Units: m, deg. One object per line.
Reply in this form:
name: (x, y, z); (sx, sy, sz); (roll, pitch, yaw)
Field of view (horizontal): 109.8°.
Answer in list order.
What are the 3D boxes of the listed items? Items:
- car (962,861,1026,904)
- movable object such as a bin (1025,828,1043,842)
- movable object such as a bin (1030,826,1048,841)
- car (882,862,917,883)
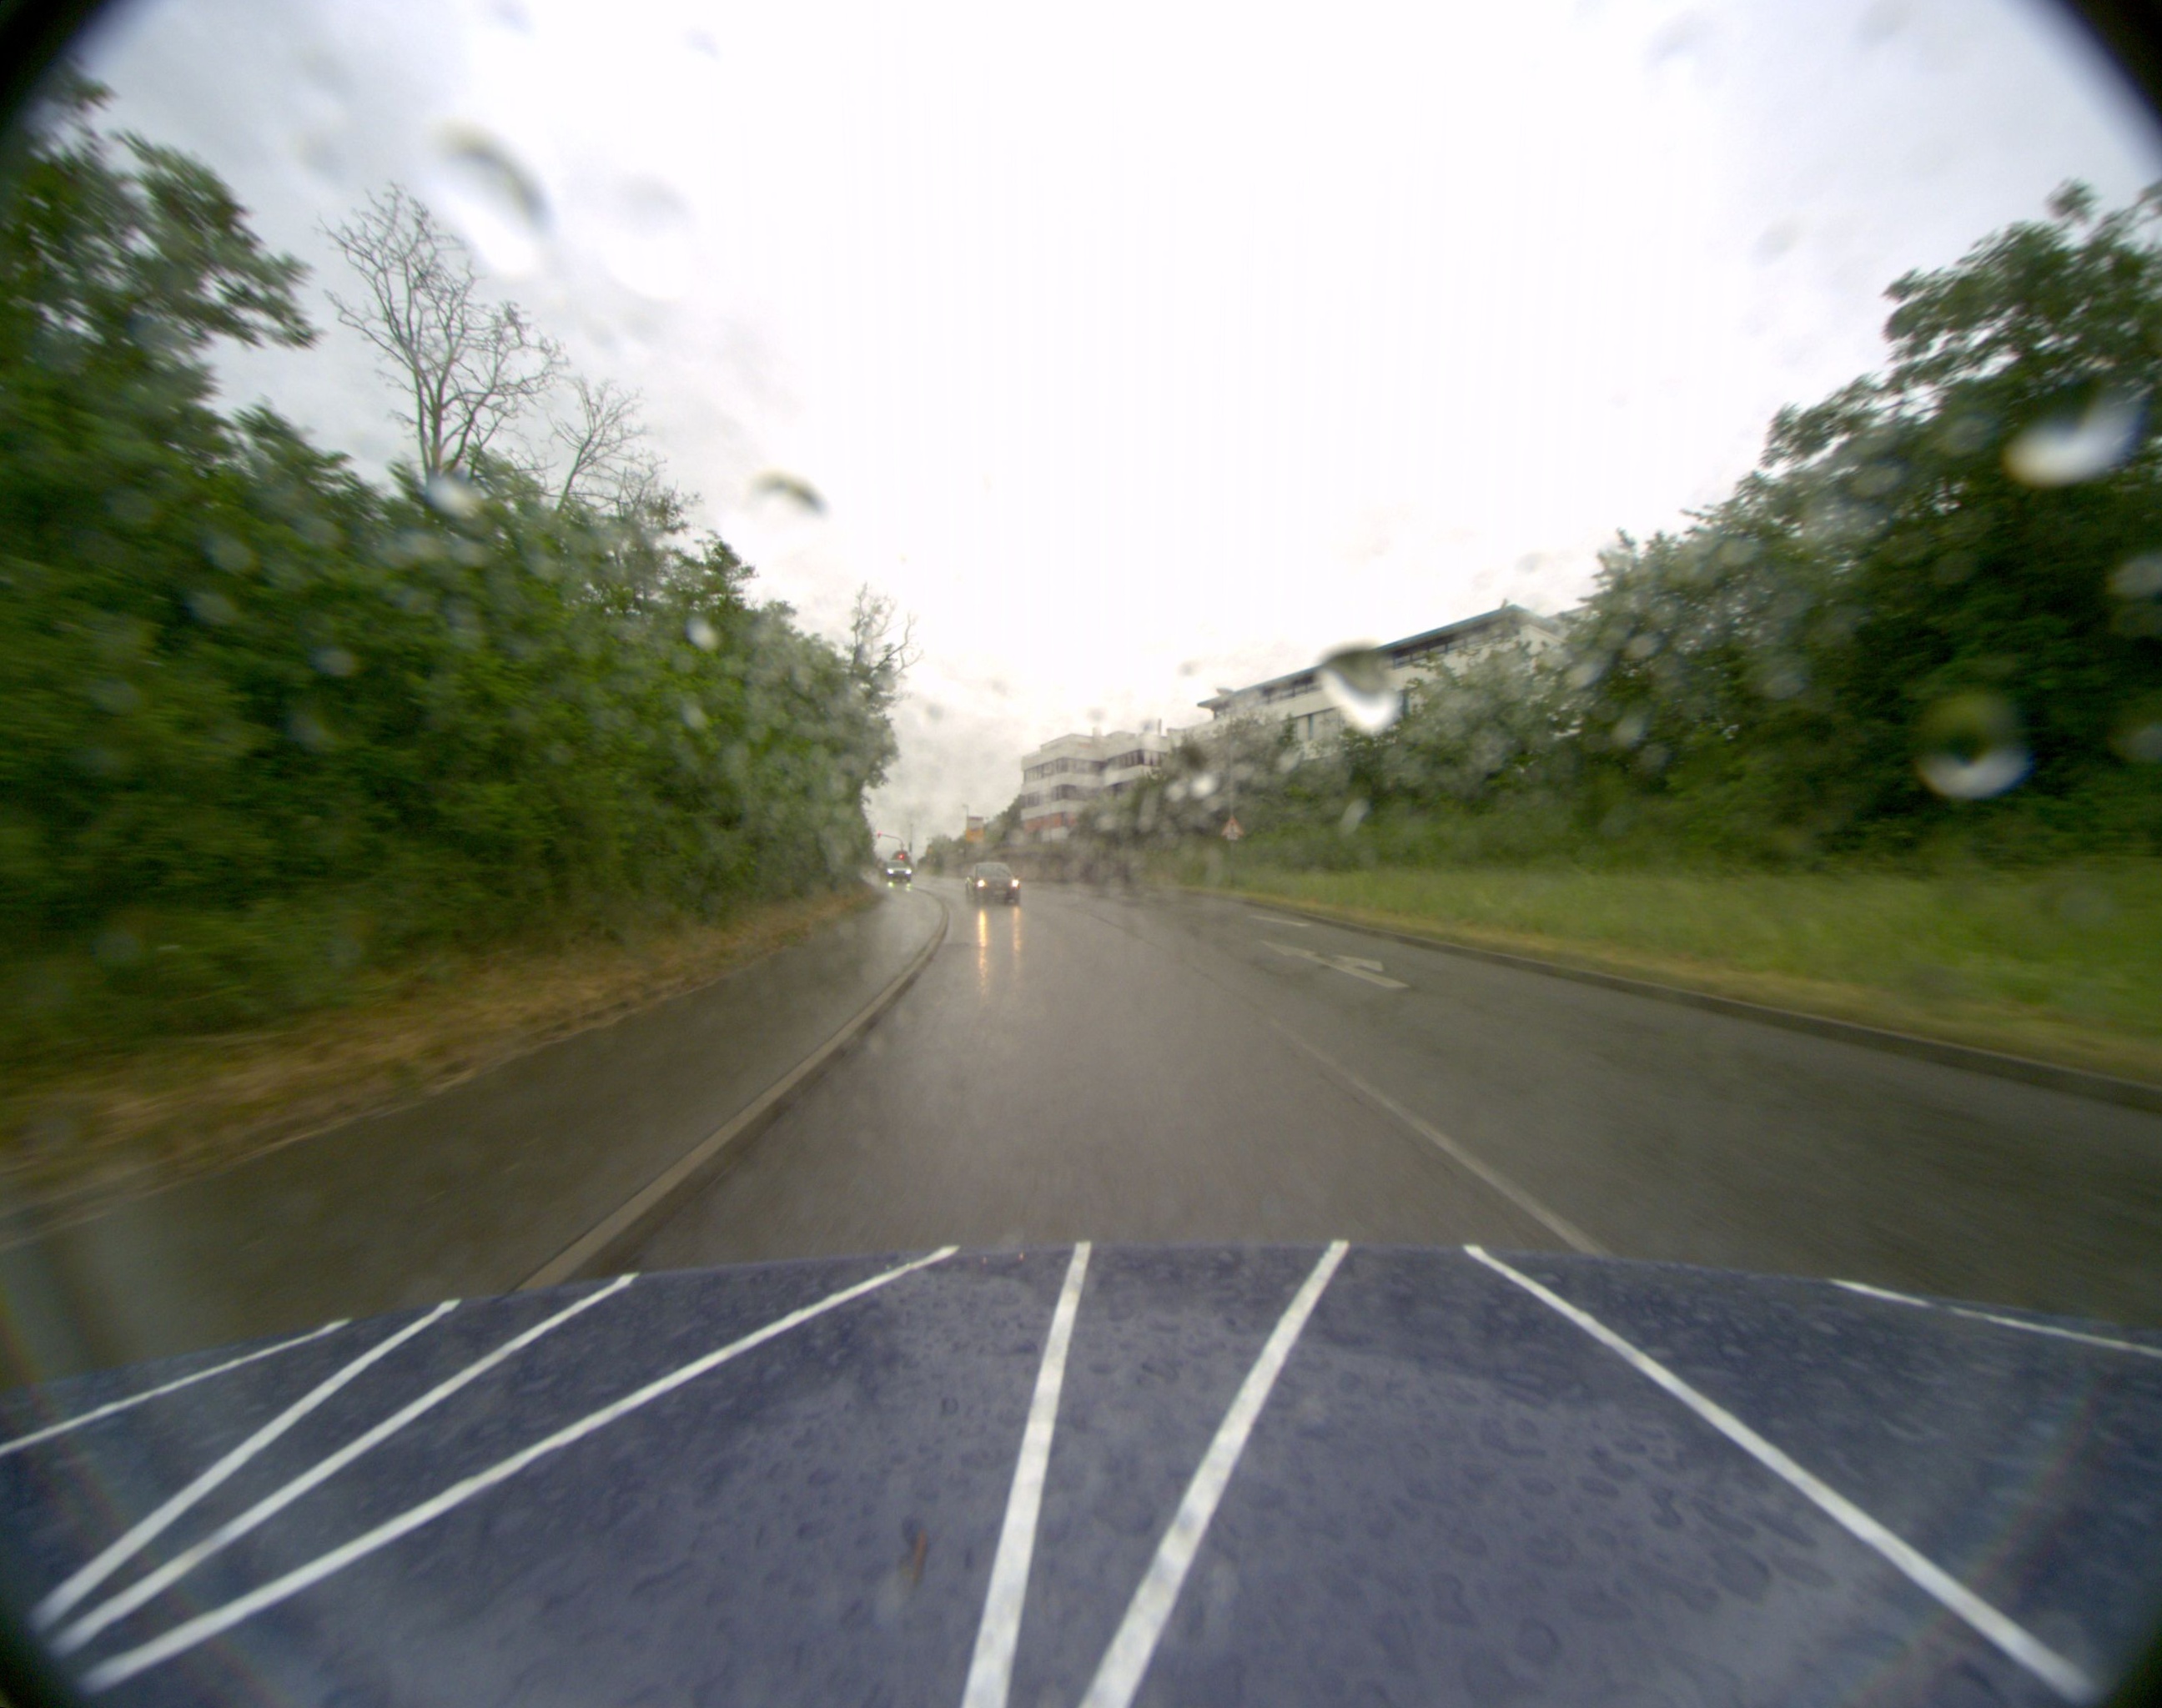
car: (-3.410, 1.029, 29.075); (1.876, 1.432, 4.372); (-1, 0, -14)
movable object such as a bin: (-4.427, -1.786, 71.349); (1.246, 1.204, 1.340); (1, 0, -24)
movable object such as a bin: (-3.868, -1.860, 70.102); (1.246, 1.338, 1.215); (1, 0, -23)
car: (-13.435, 1.345, 56.138); (1.878, 1.432, 4.370); (3, -1, -22)
